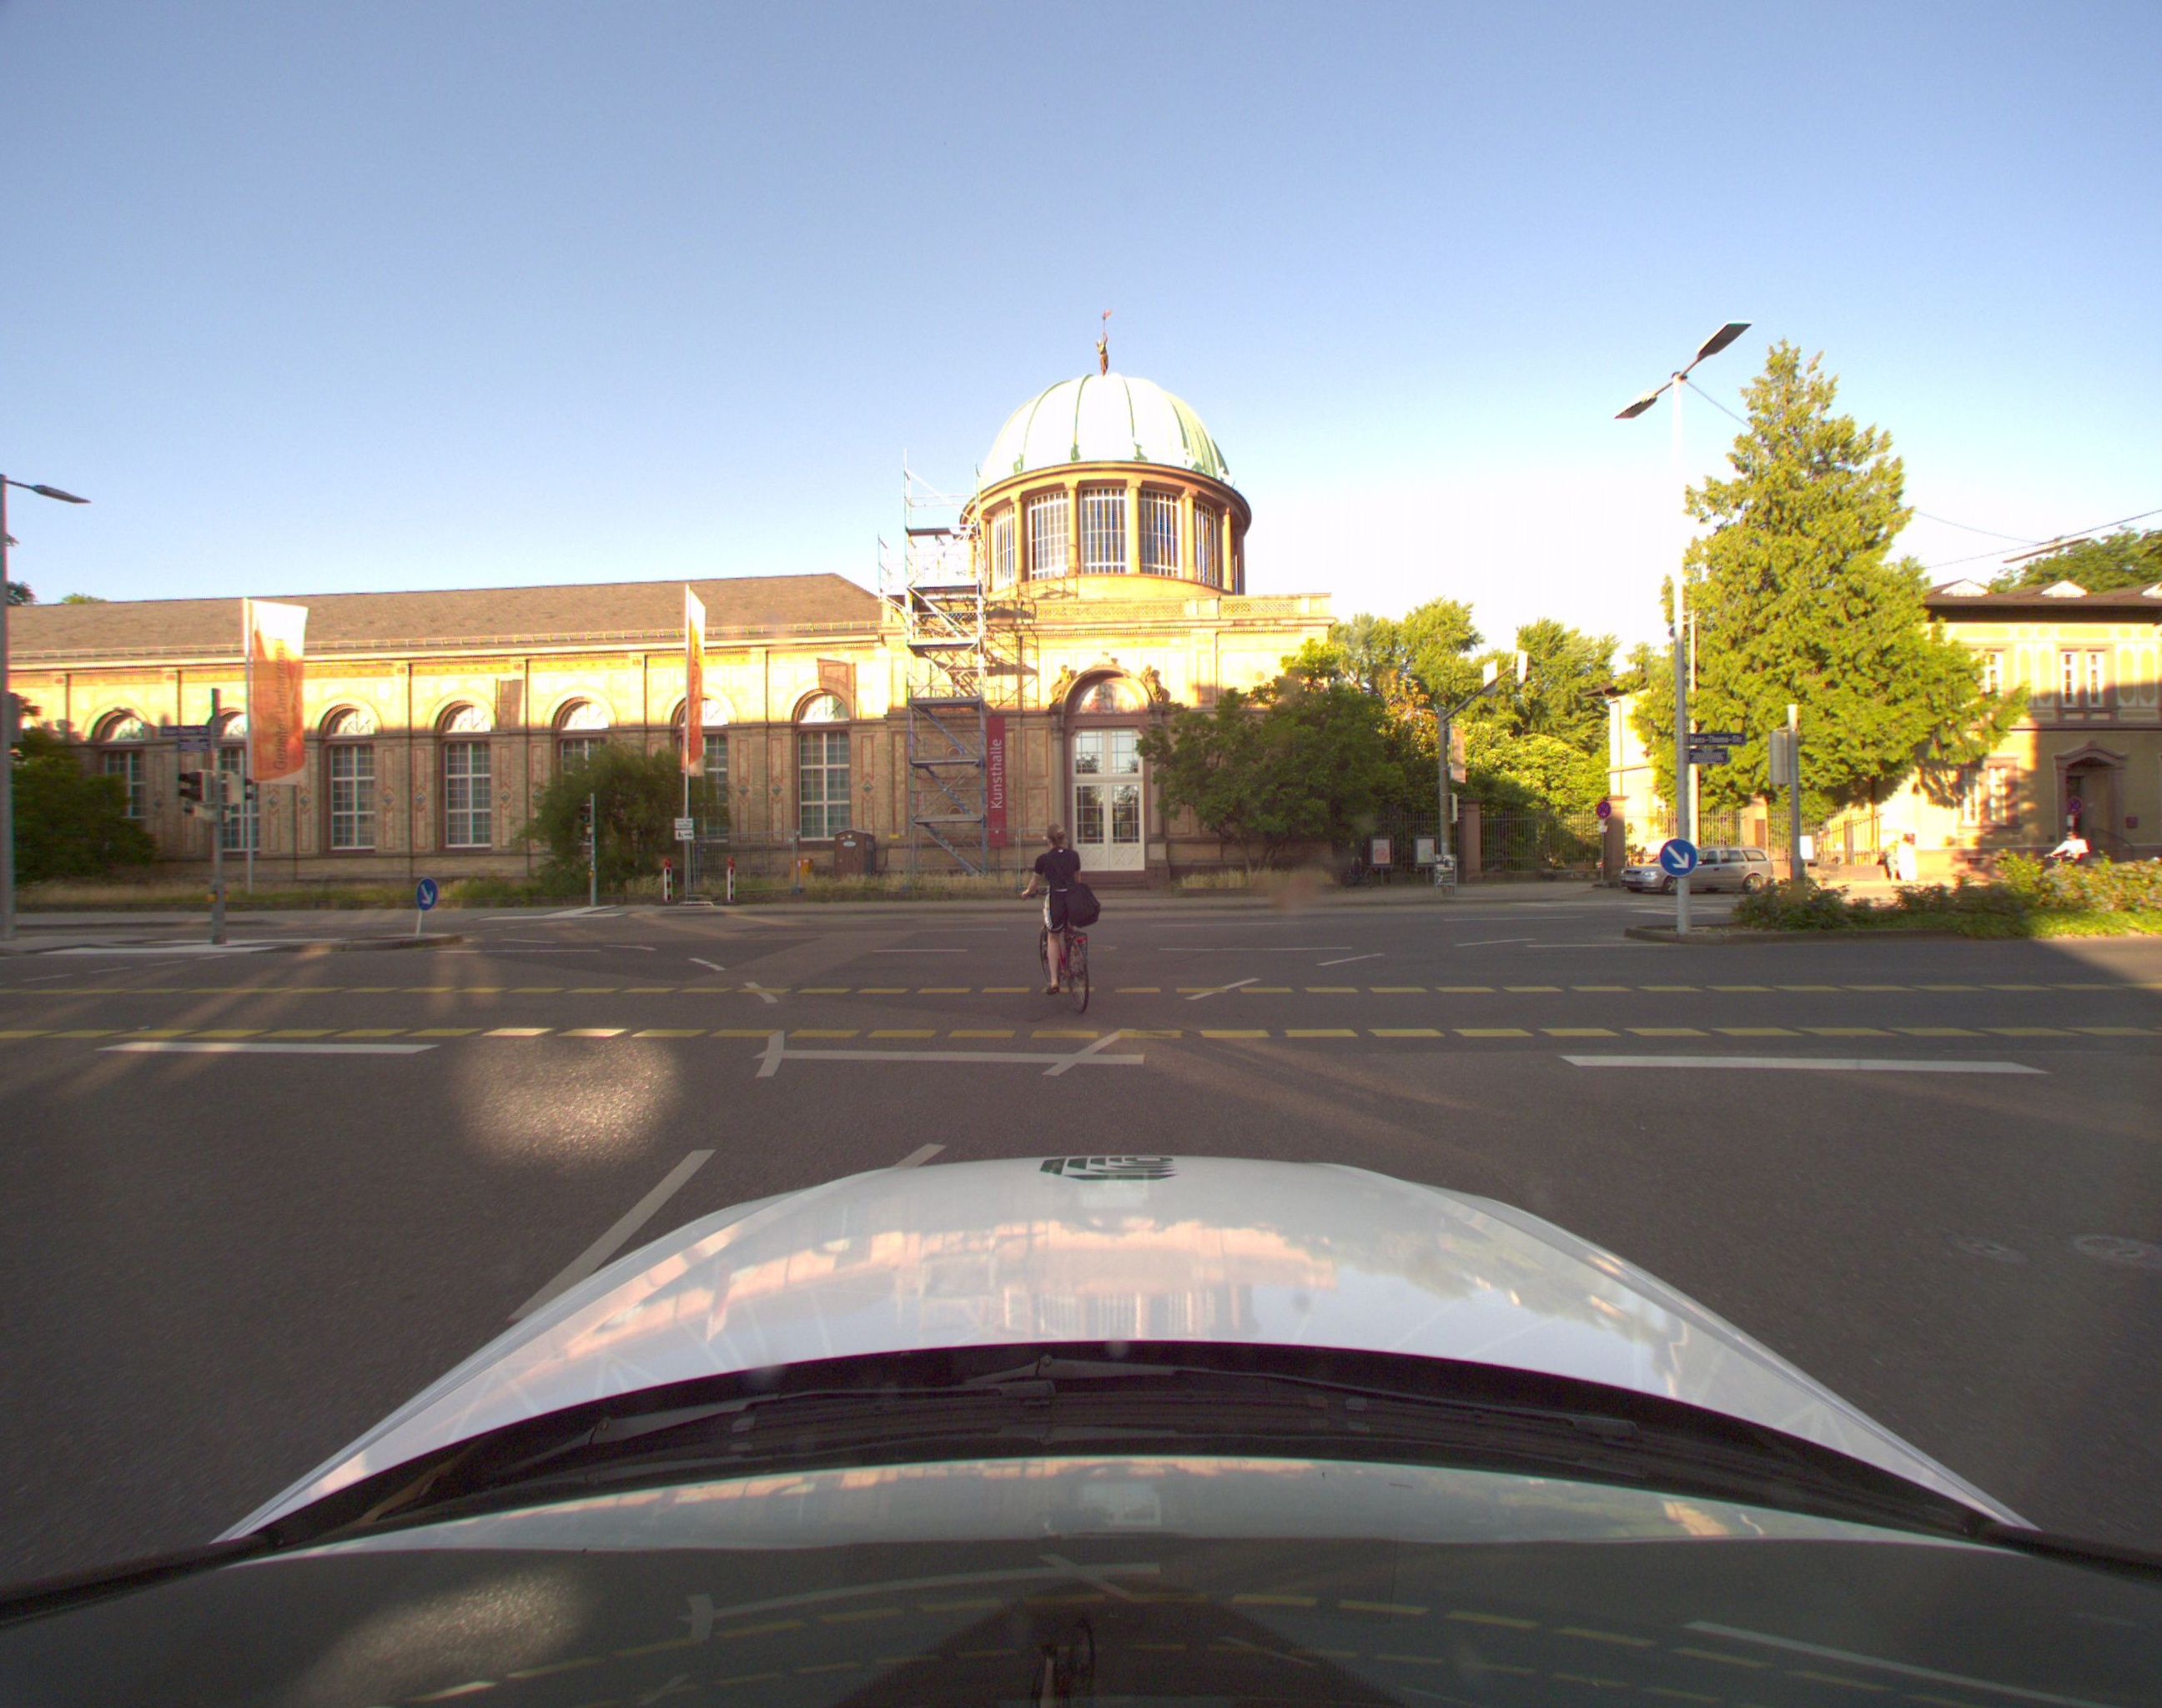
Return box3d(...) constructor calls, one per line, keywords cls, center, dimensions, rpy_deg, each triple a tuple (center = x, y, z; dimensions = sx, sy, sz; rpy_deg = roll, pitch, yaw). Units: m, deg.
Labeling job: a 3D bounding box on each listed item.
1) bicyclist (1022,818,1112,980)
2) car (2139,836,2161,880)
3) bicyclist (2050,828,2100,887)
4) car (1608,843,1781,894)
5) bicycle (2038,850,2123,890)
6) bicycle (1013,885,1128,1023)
box3d(cls="bicyclist", center=(-0.158, 0.425, 8.092), dimensions=(0.717, 1.502, 0.846), rpy_deg=(0, -2, -14))
box3d(cls="car", center=(38.484, 0.106, 27.285), dimensions=(4.057, 1.491, 1.831), rpy_deg=(-1, -1, -5))
box3d(cls="bicyclist", center=(28.346, 0.104, 23.239), dimensions=(0.516, 1.644, 0.668), rpy_deg=(-1, -2, 3))
box3d(cls="car", center=(19.021, 0.433, 25.352), dimensions=(4.175, 1.445, 1.713), rpy_deg=(-1, 0, -3))
box3d(cls="bicycle", center=(28.510, 0.452, 23.243), dimensions=(1.655, 1.101, 0.496), rpy_deg=(-1, -2, 3))
box3d(cls="bicycle", center=(-0.173, 0.906, 8.142), dimensions=(0.712, 1.156, 2.059), rpy_deg=(0, -2, -13))
